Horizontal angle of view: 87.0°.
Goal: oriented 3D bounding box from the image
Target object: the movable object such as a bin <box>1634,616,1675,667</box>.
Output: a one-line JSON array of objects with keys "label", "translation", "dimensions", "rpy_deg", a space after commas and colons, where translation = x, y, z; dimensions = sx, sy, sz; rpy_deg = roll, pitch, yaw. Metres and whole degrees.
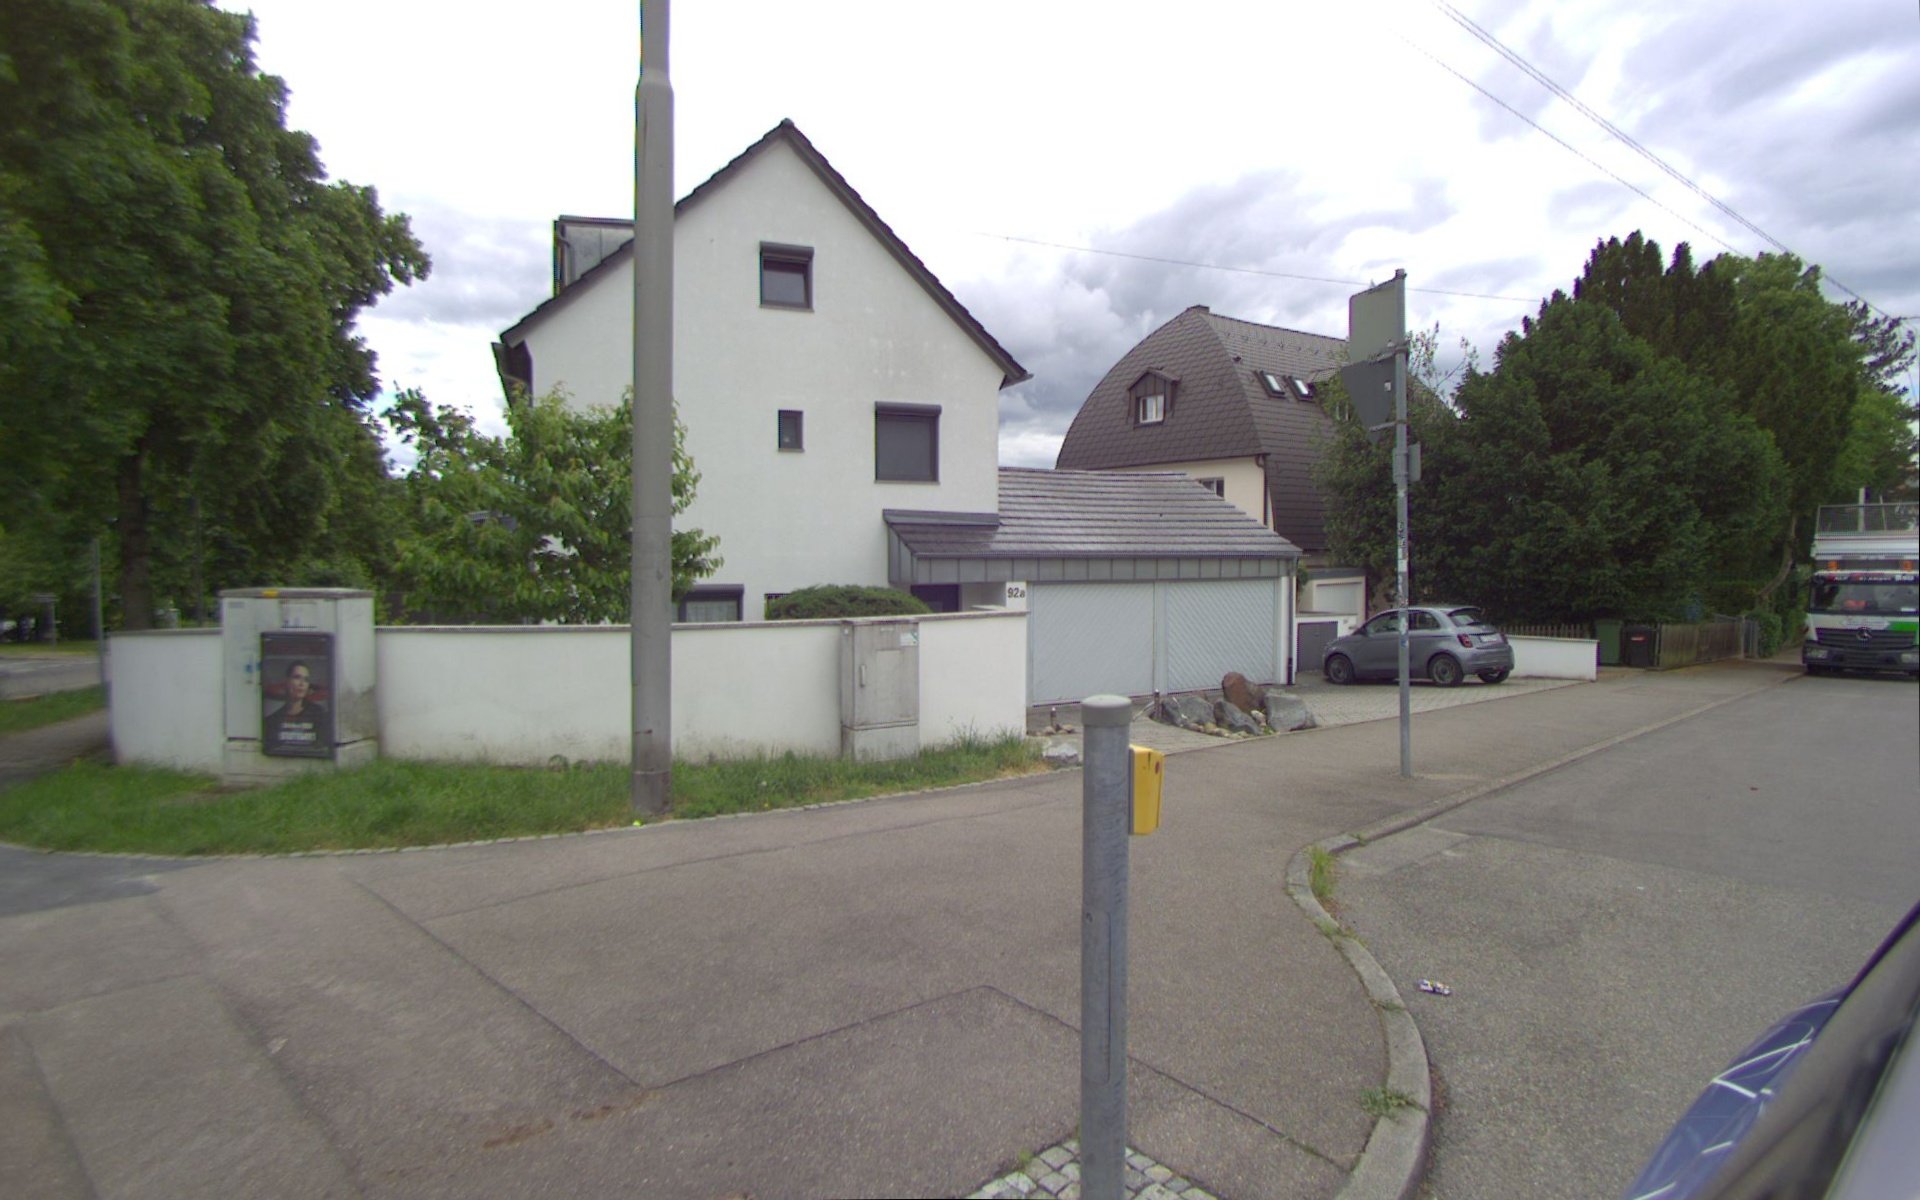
[{"label": "movable object such as a bin", "translation": [15.516, 0.935, 22.611], "dimensions": [0.597, 1.120, 0.936], "rpy_deg": [-2, -4, 43]}]

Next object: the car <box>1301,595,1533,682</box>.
[{"label": "car", "translation": [8.805, 0.775, 19.830], "dimensions": [1.658, 1.516, 3.860], "rpy_deg": [0, -3, -30]}]

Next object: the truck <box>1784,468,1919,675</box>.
[{"label": "truck", "translation": [23.560, -0.653, 25.893], "dimensions": [3.145, 4.608, 7.827], "rpy_deg": [2, 1, 44]}]

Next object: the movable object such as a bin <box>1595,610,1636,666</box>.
[{"label": "movable object such as a bin", "translation": [14.897, 0.869, 22.989], "dimensions": [0.597, 1.223, 0.936], "rpy_deg": [-2, -4, 43]}]
